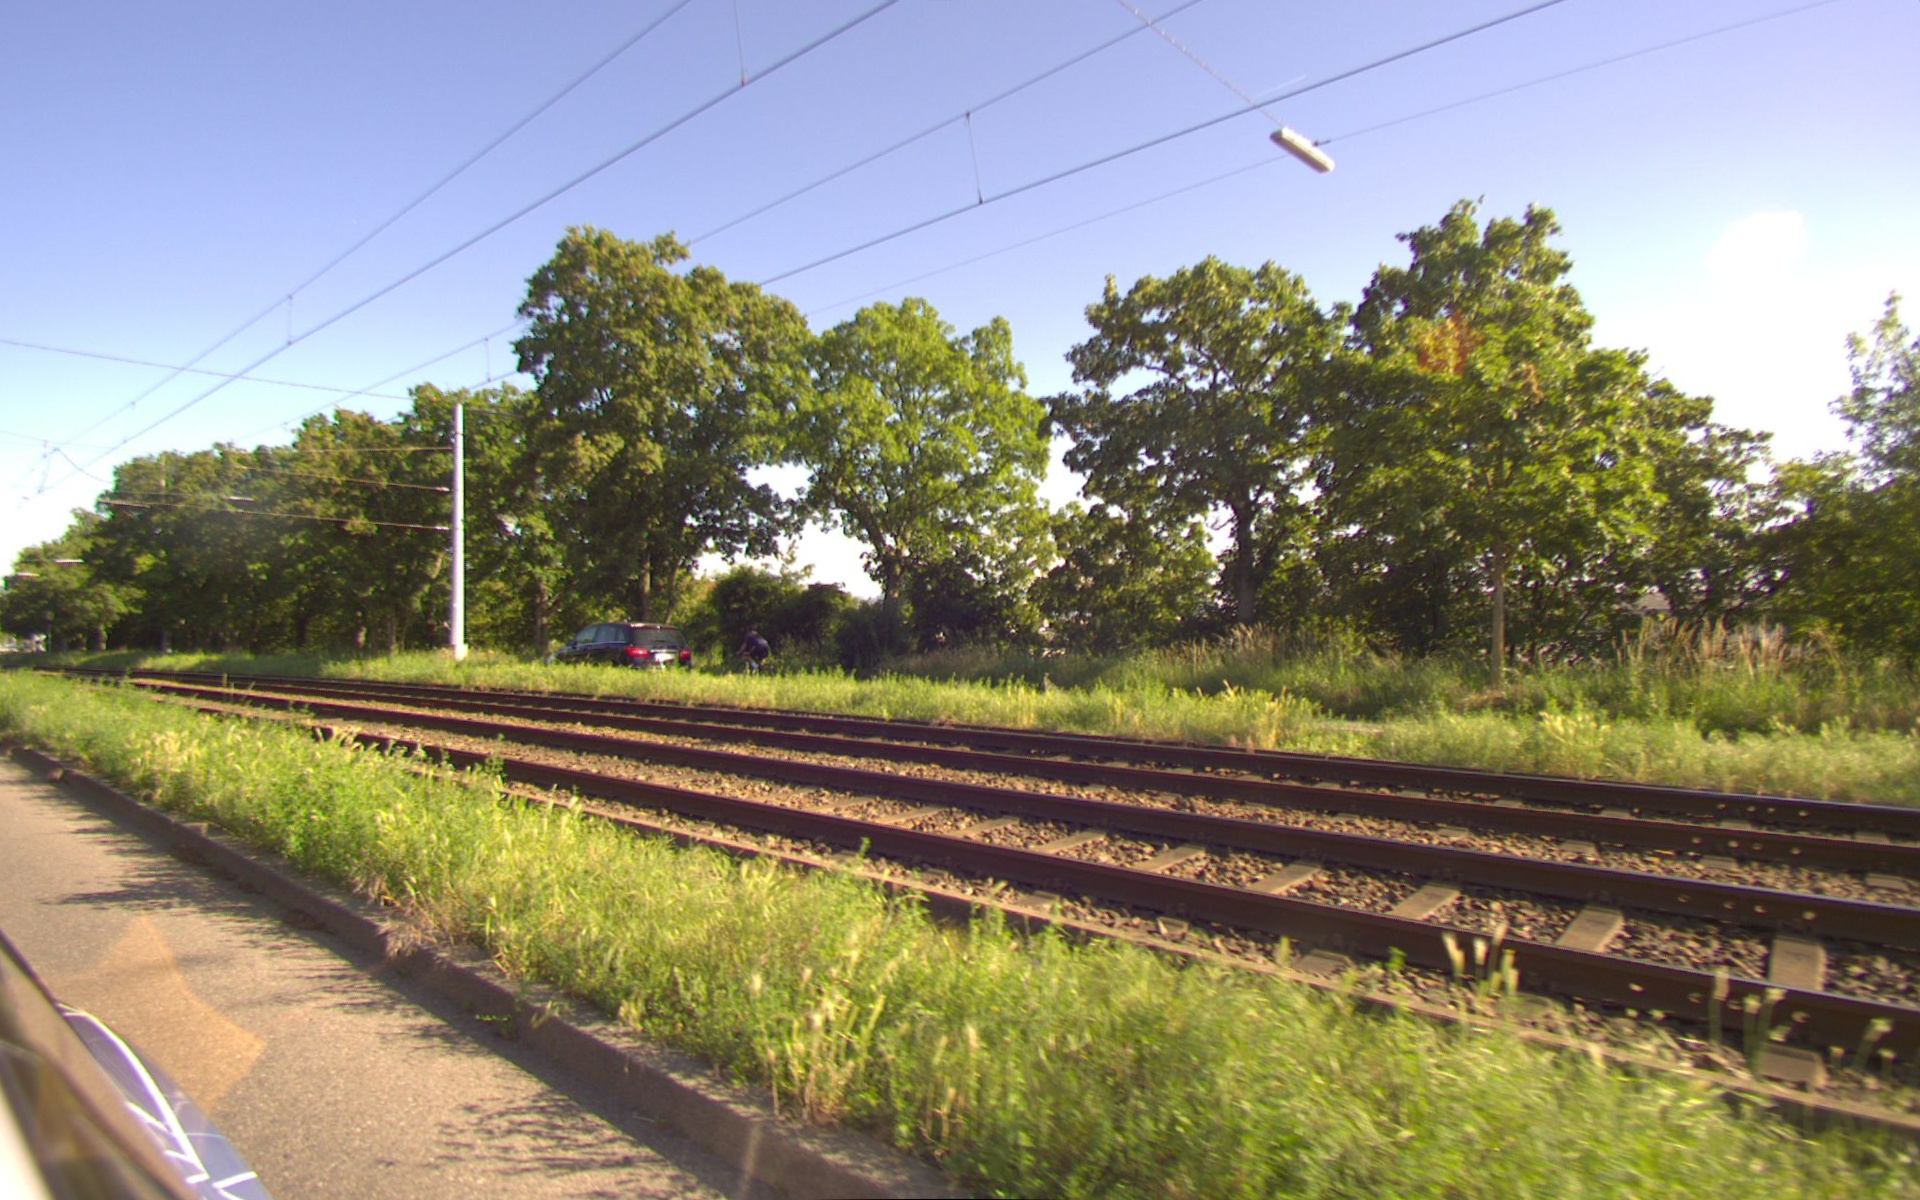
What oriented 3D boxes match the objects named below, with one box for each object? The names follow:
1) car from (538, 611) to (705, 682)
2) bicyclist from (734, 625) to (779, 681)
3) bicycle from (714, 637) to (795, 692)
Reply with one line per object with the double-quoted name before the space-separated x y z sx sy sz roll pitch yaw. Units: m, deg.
"car" -8.050 1.086 23.871 4.405 1.500 1.790 -3 -1 42
"bicyclist" -4.990 1.287 24.774 0.987 1.320 0.576 -3 -1 42
"bicycle" -5.069 1.563 24.846 2.426 1.271 0.583 -3 -1 42
